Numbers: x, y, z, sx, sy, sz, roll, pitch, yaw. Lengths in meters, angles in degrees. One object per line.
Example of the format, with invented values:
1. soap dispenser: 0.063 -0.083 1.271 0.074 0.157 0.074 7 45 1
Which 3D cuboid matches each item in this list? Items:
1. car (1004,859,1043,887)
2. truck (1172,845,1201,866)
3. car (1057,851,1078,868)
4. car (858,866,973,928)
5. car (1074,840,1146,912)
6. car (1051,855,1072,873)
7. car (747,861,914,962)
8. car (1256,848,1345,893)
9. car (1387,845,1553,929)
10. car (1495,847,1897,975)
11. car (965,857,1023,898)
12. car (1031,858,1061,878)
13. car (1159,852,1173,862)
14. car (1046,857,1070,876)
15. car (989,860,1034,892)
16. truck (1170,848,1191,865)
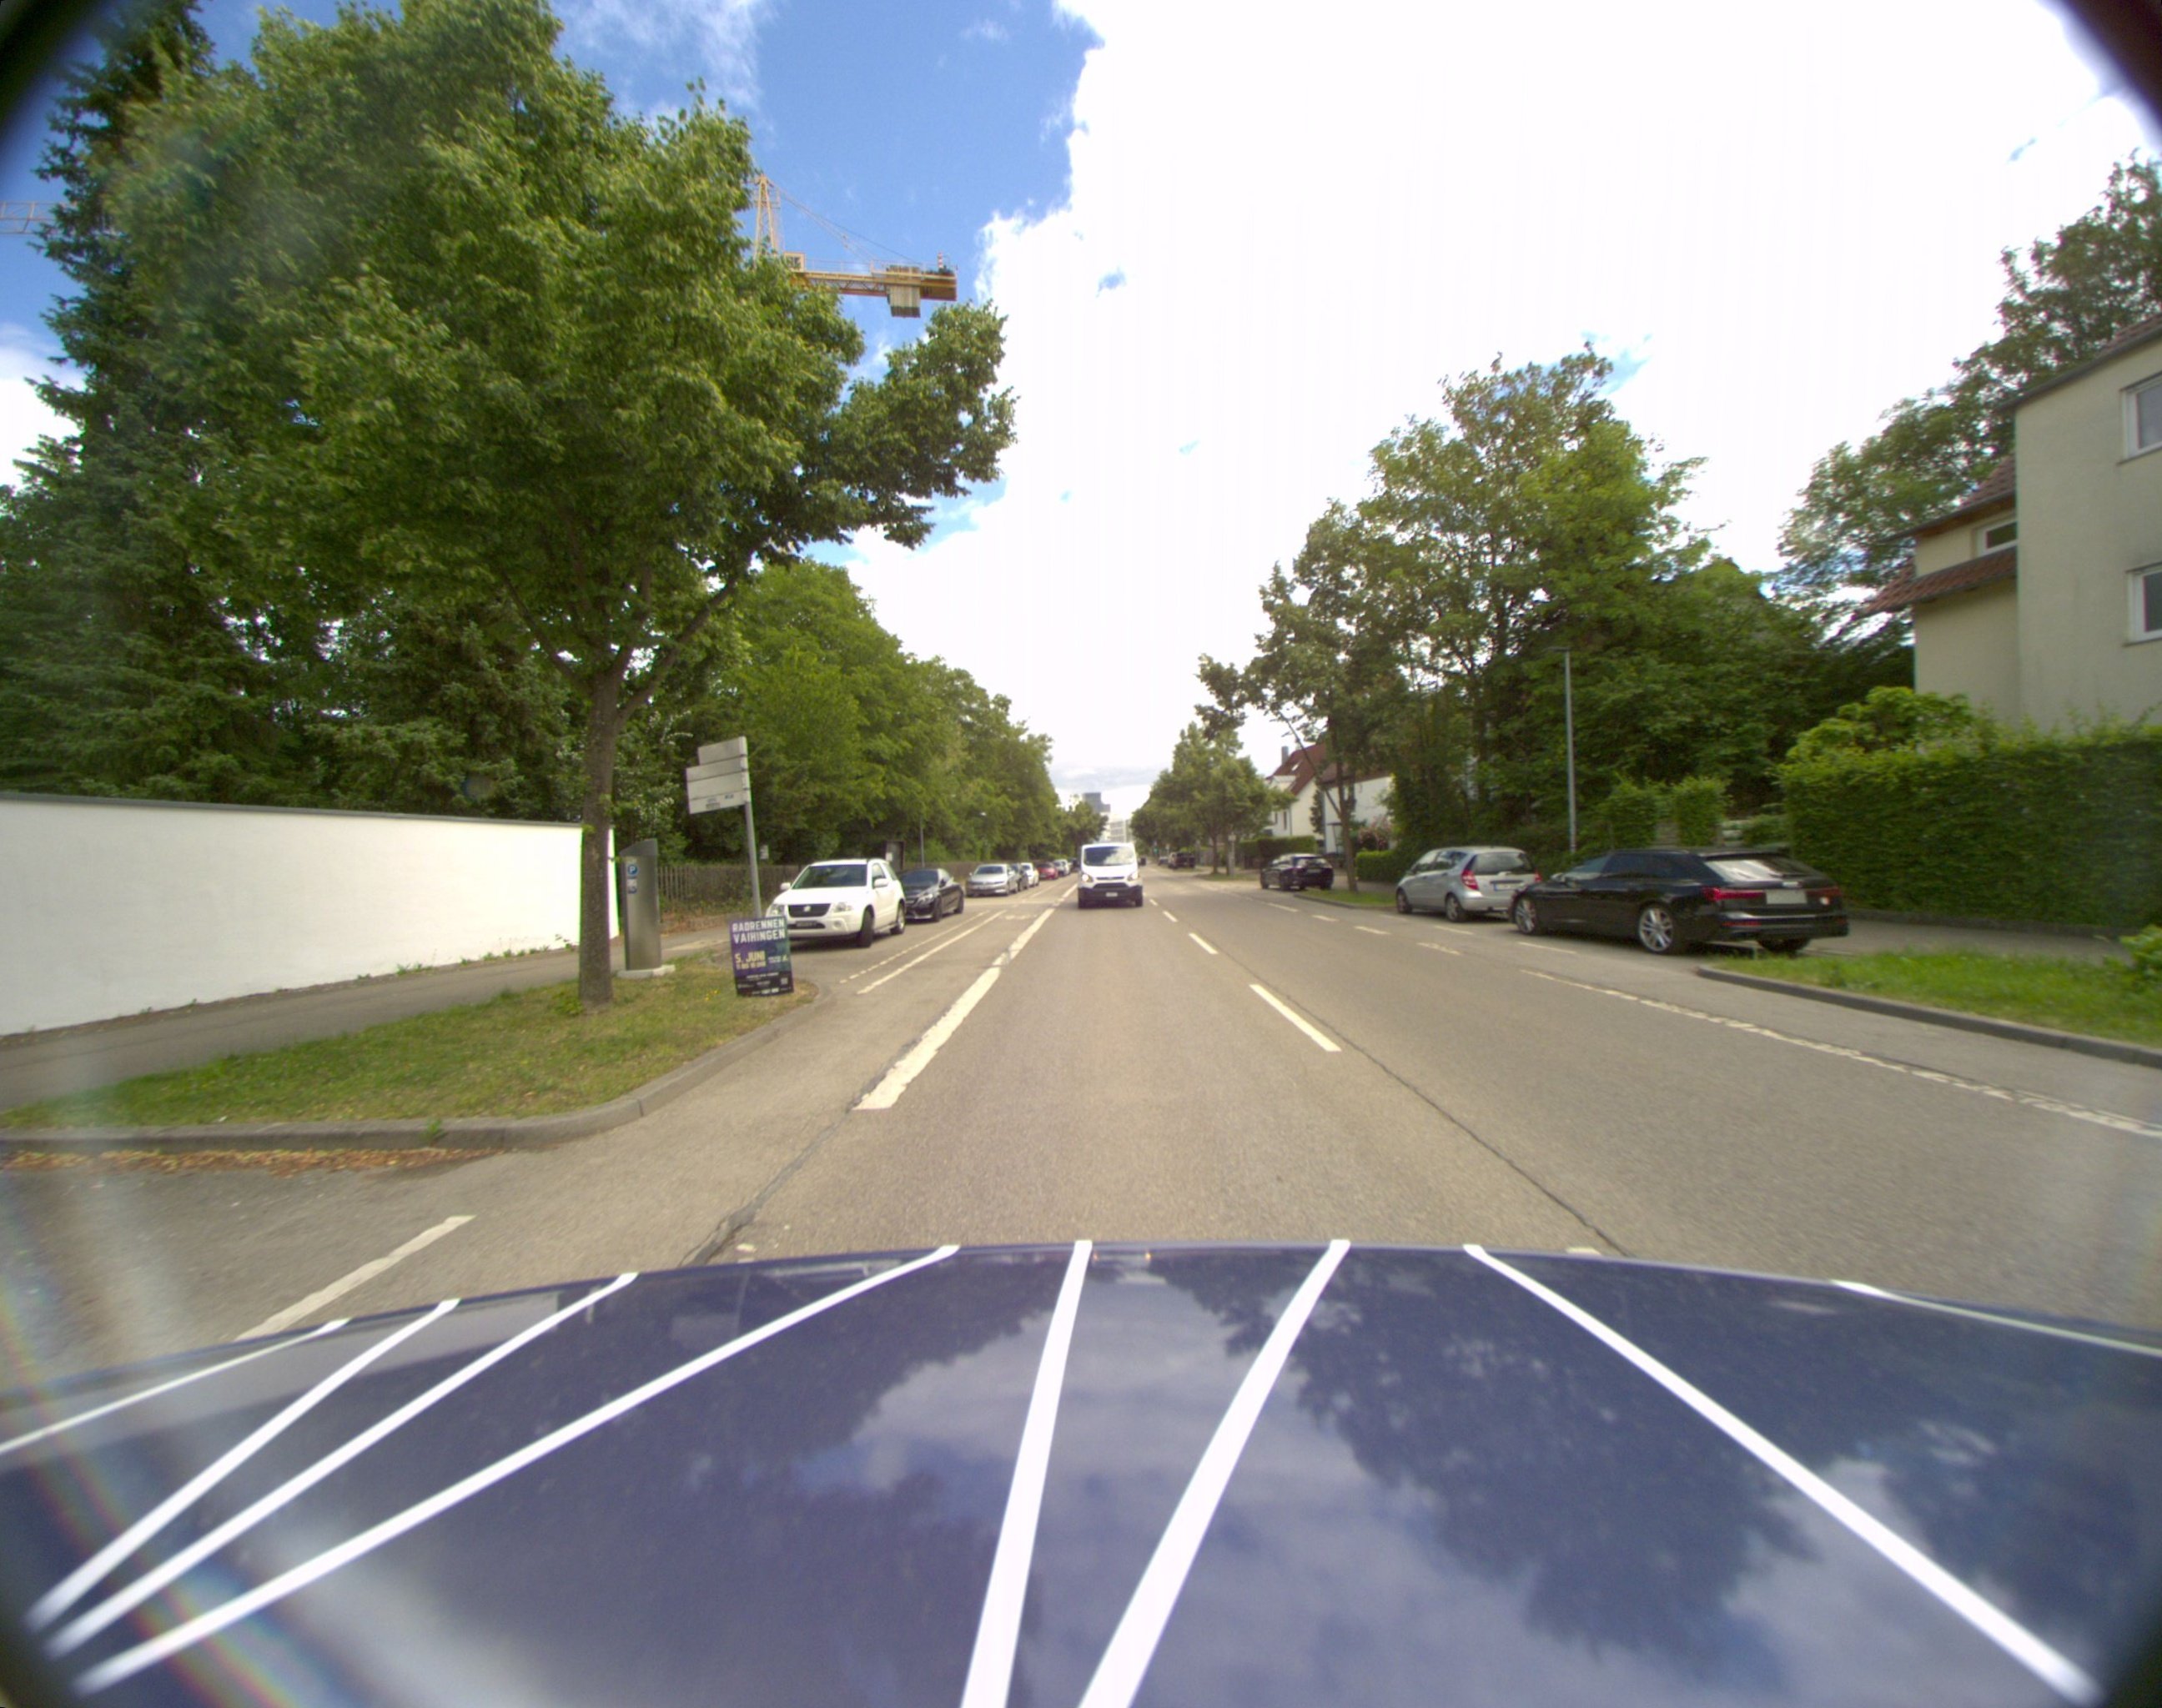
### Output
1. car: -3.453 1.098 45.983 1.772 1.501 4.031 -2 1 3
2. truck: 11.173 0.155 80.756 2.428 2.031 5.996 -2 0 2
3. car: -1.488 0.577 88.273 1.998 1.805 4.827 -3 1 3
4. car: -4.417 1.100 21.059 1.867 1.408 4.603 -2 0 3
5. car: 1.002 0.614 24.843 1.998 2.002 5.189 -4 1 3
6. car: -1.946 0.979 76.790 1.867 1.580 4.421 -3 0 1
7. car: -4.818 1.016 15.310 1.905 1.633 4.116 -2 1 1
8. car: 8.824 0.627 31.100 2.100 1.637 5.038 -1 0 -1
9. car: 8.466 0.648 16.955 1.722 1.603 3.910 -1 0 0
10. car: 8.659 0.666 11.477 1.999 1.476 4.889 -1 0 -2
11. car: -3.894 1.016 34.748 1.866 1.601 4.686 -3 1 2
12. car: -2.762 1.132 60.957 1.863 1.405 4.444 -4 -1 3
13. car: 12.999 0.409 116.802 1.750 1.400 4.928 -1 0 3
14. car: -2.125 1.122 70.507 1.820 1.506 4.680 -4 0 2
15. car: -3.613 1.104 40.262 1.706 1.501 4.538 -3 0 3
16. truck: 11.496 0.264 88.195 1.971 1.857 5.665 0 0 3
